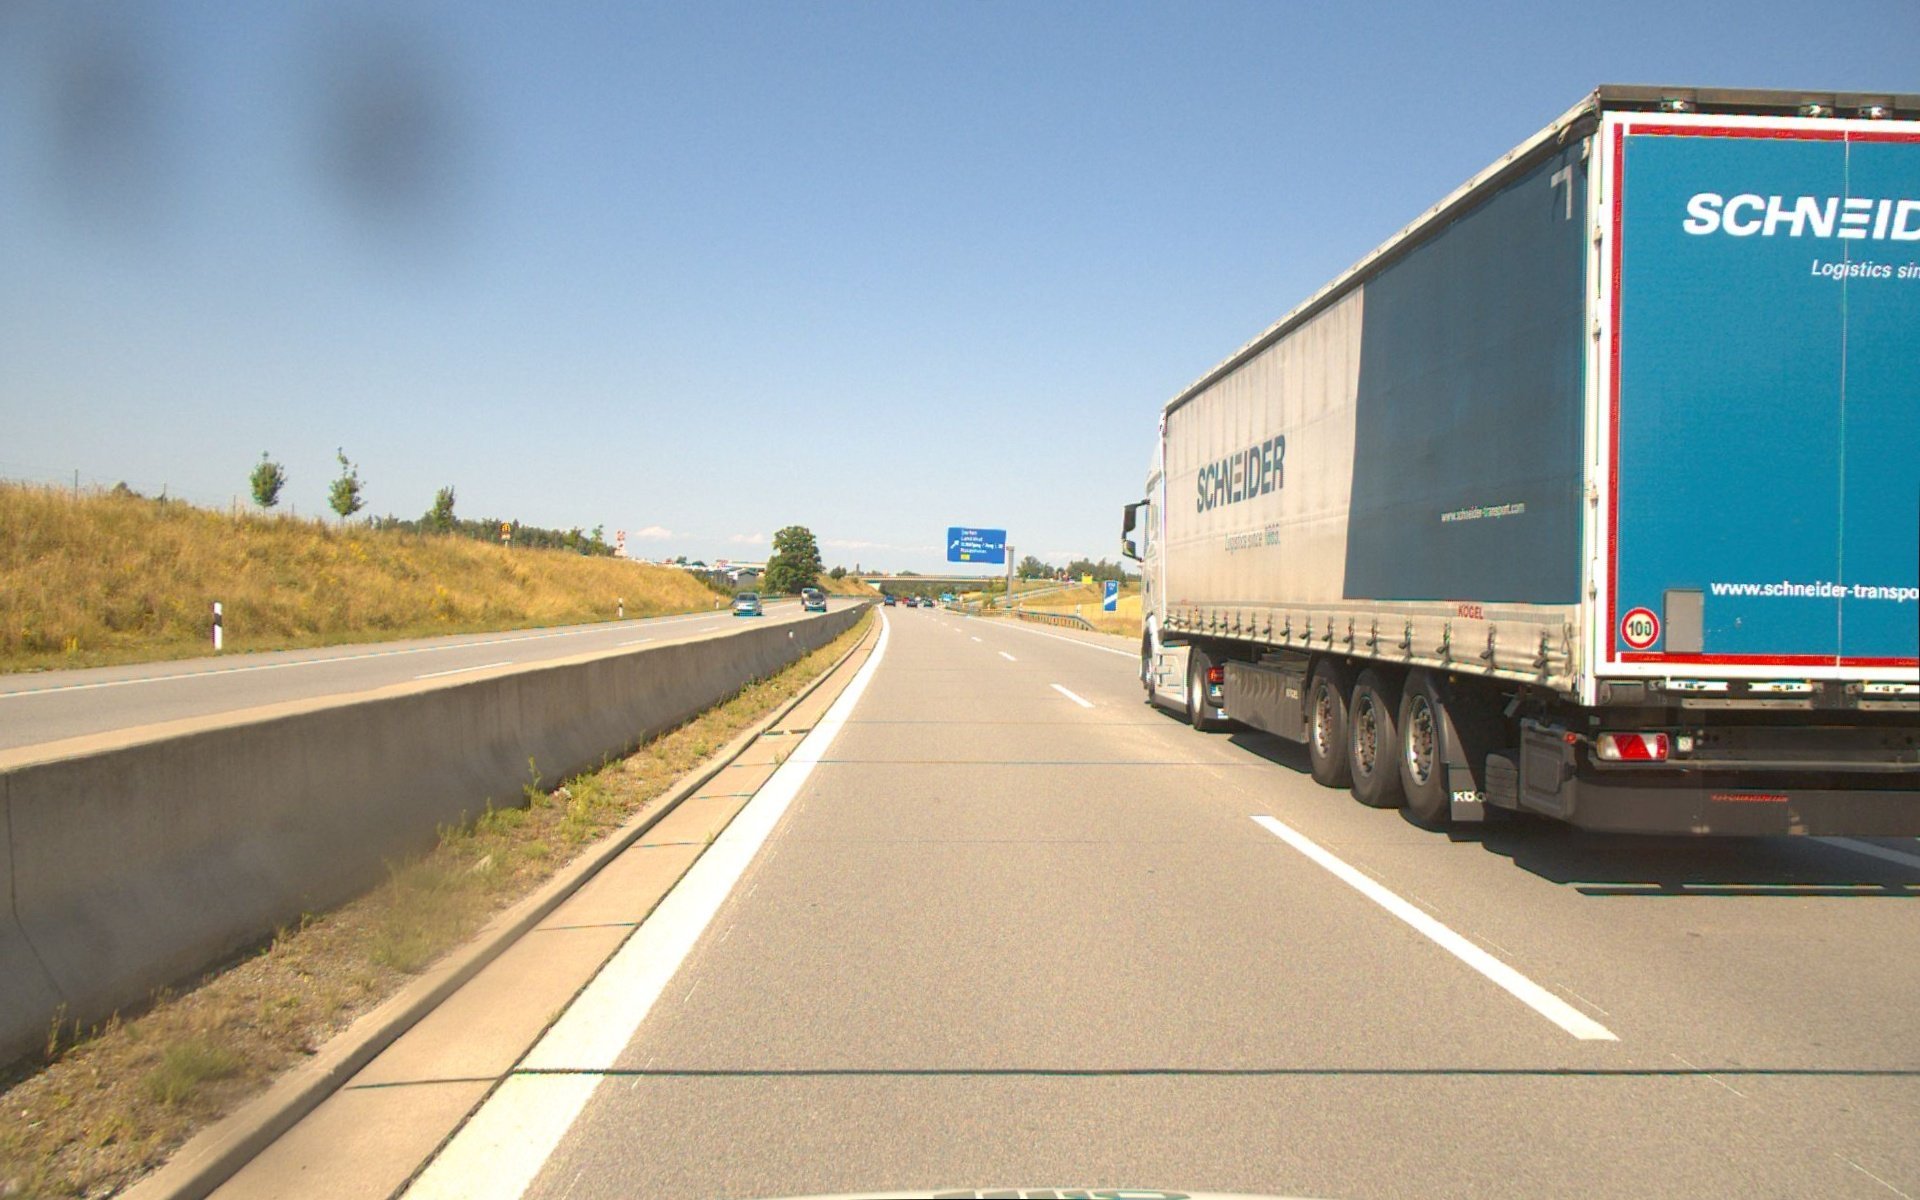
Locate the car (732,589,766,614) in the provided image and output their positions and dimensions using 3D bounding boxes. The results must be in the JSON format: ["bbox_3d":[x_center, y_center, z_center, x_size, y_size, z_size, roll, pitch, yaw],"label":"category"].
[{"bbox_3d":[-13.543,0.072,106.378,1.842,1.528,4.563,0,0,-3],"label":"car"}]

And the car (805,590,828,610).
[{"bbox_3d":[-12.012,-0.034,138.729,1.843,1.603,4.560,-1,0,-6],"label":"car"}]

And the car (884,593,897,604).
[{"bbox_3d":[-10.940,-0.244,260.605,1.953,1.579,3.999,-1,0,-1],"label":"car"}]

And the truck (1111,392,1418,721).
[{"bbox_3d":[4.091,-0.565,23.742,3.021,4.084,6.186,-1,0,-2],"label":"truck"}]

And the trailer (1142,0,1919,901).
[{"bbox_3d":[4.349,-0.782,15.683,3.112,4.369,15.455,0,0,-2],"label":"trailer"}]
